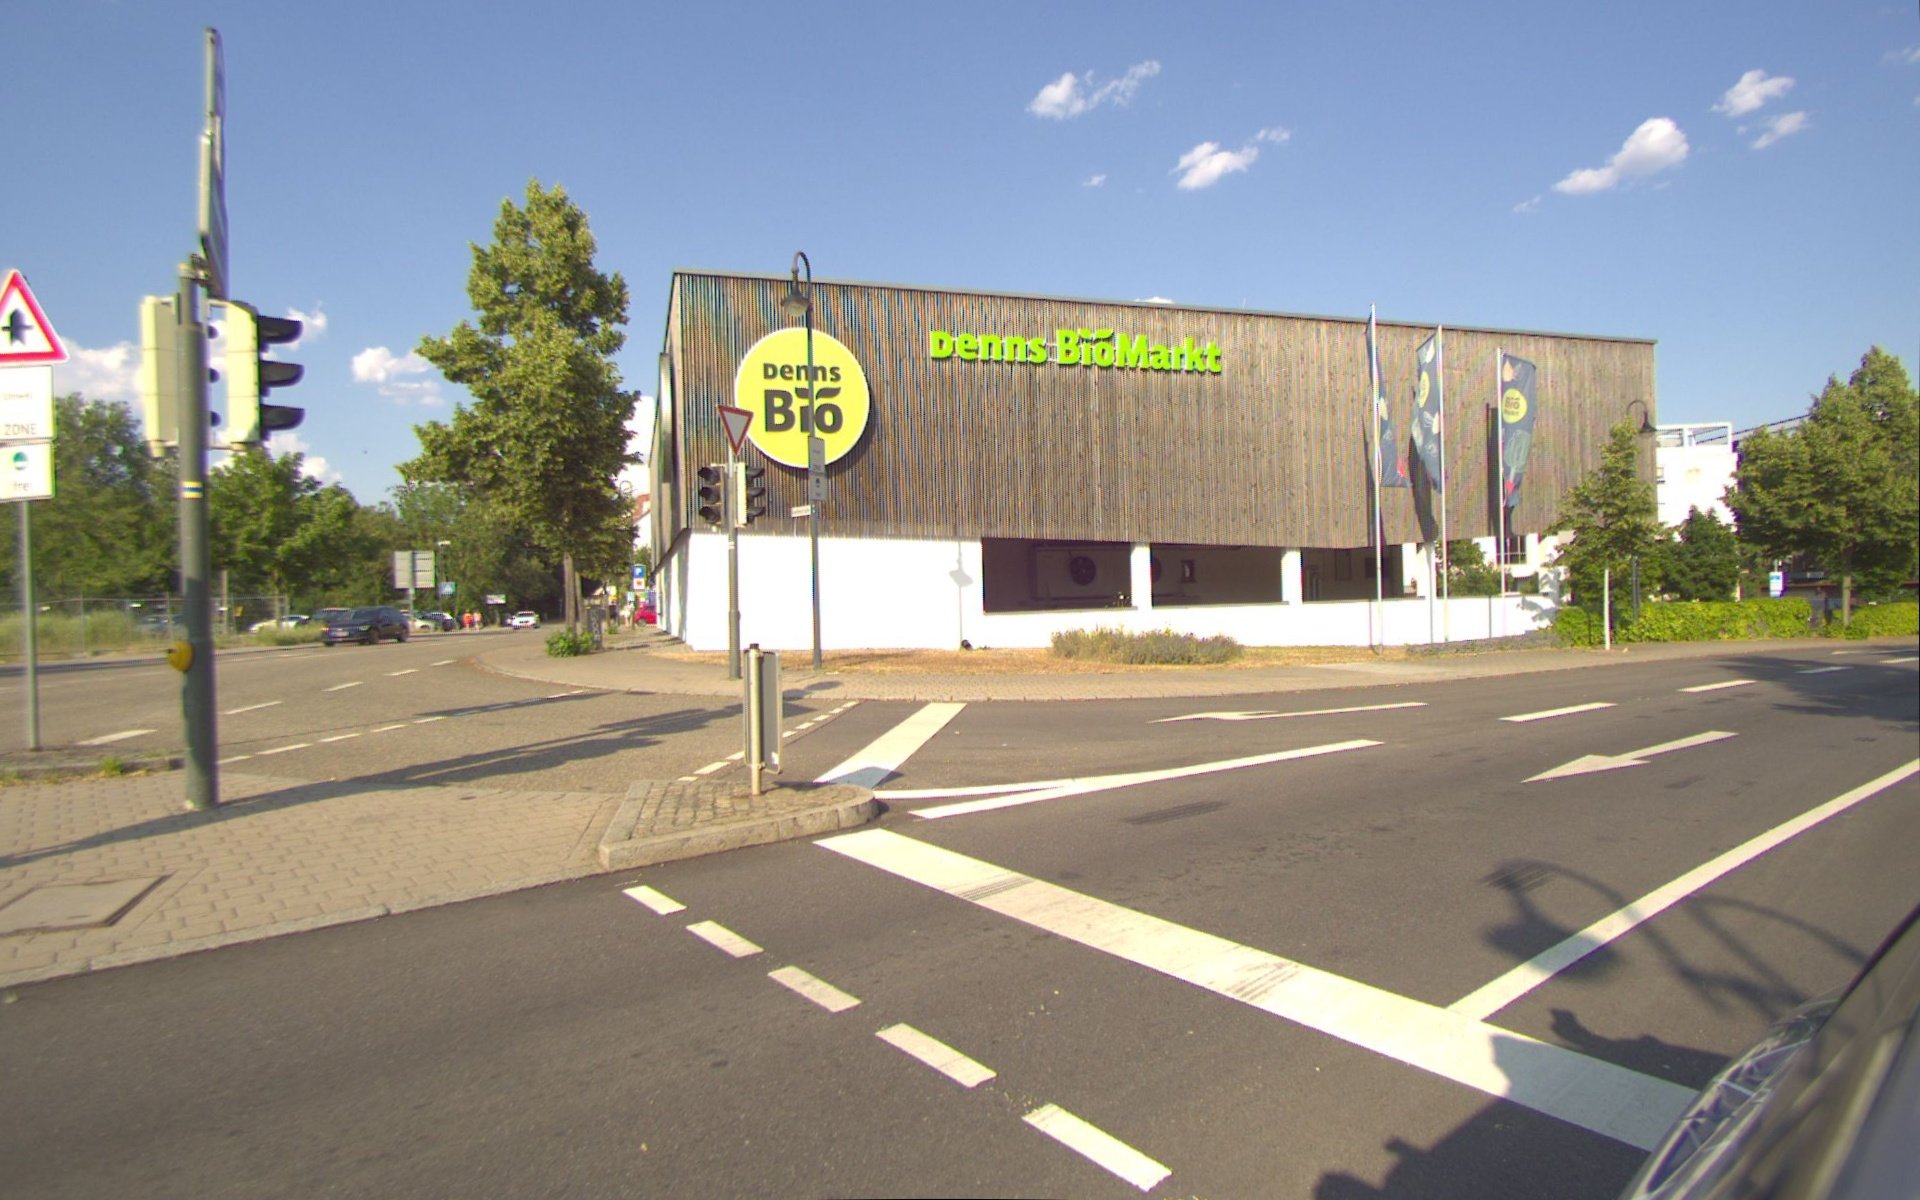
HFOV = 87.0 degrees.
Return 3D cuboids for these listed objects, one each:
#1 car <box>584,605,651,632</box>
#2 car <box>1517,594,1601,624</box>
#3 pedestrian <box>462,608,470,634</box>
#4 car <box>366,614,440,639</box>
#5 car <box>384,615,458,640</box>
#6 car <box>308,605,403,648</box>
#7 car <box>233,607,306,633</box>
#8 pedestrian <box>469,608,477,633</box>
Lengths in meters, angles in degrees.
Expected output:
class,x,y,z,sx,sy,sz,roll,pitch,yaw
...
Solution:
class,x,y,z,sx,sy,sz,roll,pitch,yaw
car,-22.939,1.230,67.822,4.225,1.745,1.899,0,0,-19
car,35.710,0.541,60.341,4.225,1.746,1.898,0,-3,-17
pedestrian,-36.724,1.529,75.204,0.412,1.896,0.343,-2,1,-20
car,-39.002,1.842,70.968,4.225,1.473,1.899,-2,2,-19
car,-36.857,1.854,69.303,4.225,1.473,1.899,-2,2,-19
car,-22.775,0.959,38.282,1.819,1.471,4.007,0,0,-11
car,-52.769,1.483,77.447,4.225,1.744,1.899,-2,2,-19
pedestrian,-36.262,1.519,75.379,0.406,1.896,0.343,-2,1,-20
